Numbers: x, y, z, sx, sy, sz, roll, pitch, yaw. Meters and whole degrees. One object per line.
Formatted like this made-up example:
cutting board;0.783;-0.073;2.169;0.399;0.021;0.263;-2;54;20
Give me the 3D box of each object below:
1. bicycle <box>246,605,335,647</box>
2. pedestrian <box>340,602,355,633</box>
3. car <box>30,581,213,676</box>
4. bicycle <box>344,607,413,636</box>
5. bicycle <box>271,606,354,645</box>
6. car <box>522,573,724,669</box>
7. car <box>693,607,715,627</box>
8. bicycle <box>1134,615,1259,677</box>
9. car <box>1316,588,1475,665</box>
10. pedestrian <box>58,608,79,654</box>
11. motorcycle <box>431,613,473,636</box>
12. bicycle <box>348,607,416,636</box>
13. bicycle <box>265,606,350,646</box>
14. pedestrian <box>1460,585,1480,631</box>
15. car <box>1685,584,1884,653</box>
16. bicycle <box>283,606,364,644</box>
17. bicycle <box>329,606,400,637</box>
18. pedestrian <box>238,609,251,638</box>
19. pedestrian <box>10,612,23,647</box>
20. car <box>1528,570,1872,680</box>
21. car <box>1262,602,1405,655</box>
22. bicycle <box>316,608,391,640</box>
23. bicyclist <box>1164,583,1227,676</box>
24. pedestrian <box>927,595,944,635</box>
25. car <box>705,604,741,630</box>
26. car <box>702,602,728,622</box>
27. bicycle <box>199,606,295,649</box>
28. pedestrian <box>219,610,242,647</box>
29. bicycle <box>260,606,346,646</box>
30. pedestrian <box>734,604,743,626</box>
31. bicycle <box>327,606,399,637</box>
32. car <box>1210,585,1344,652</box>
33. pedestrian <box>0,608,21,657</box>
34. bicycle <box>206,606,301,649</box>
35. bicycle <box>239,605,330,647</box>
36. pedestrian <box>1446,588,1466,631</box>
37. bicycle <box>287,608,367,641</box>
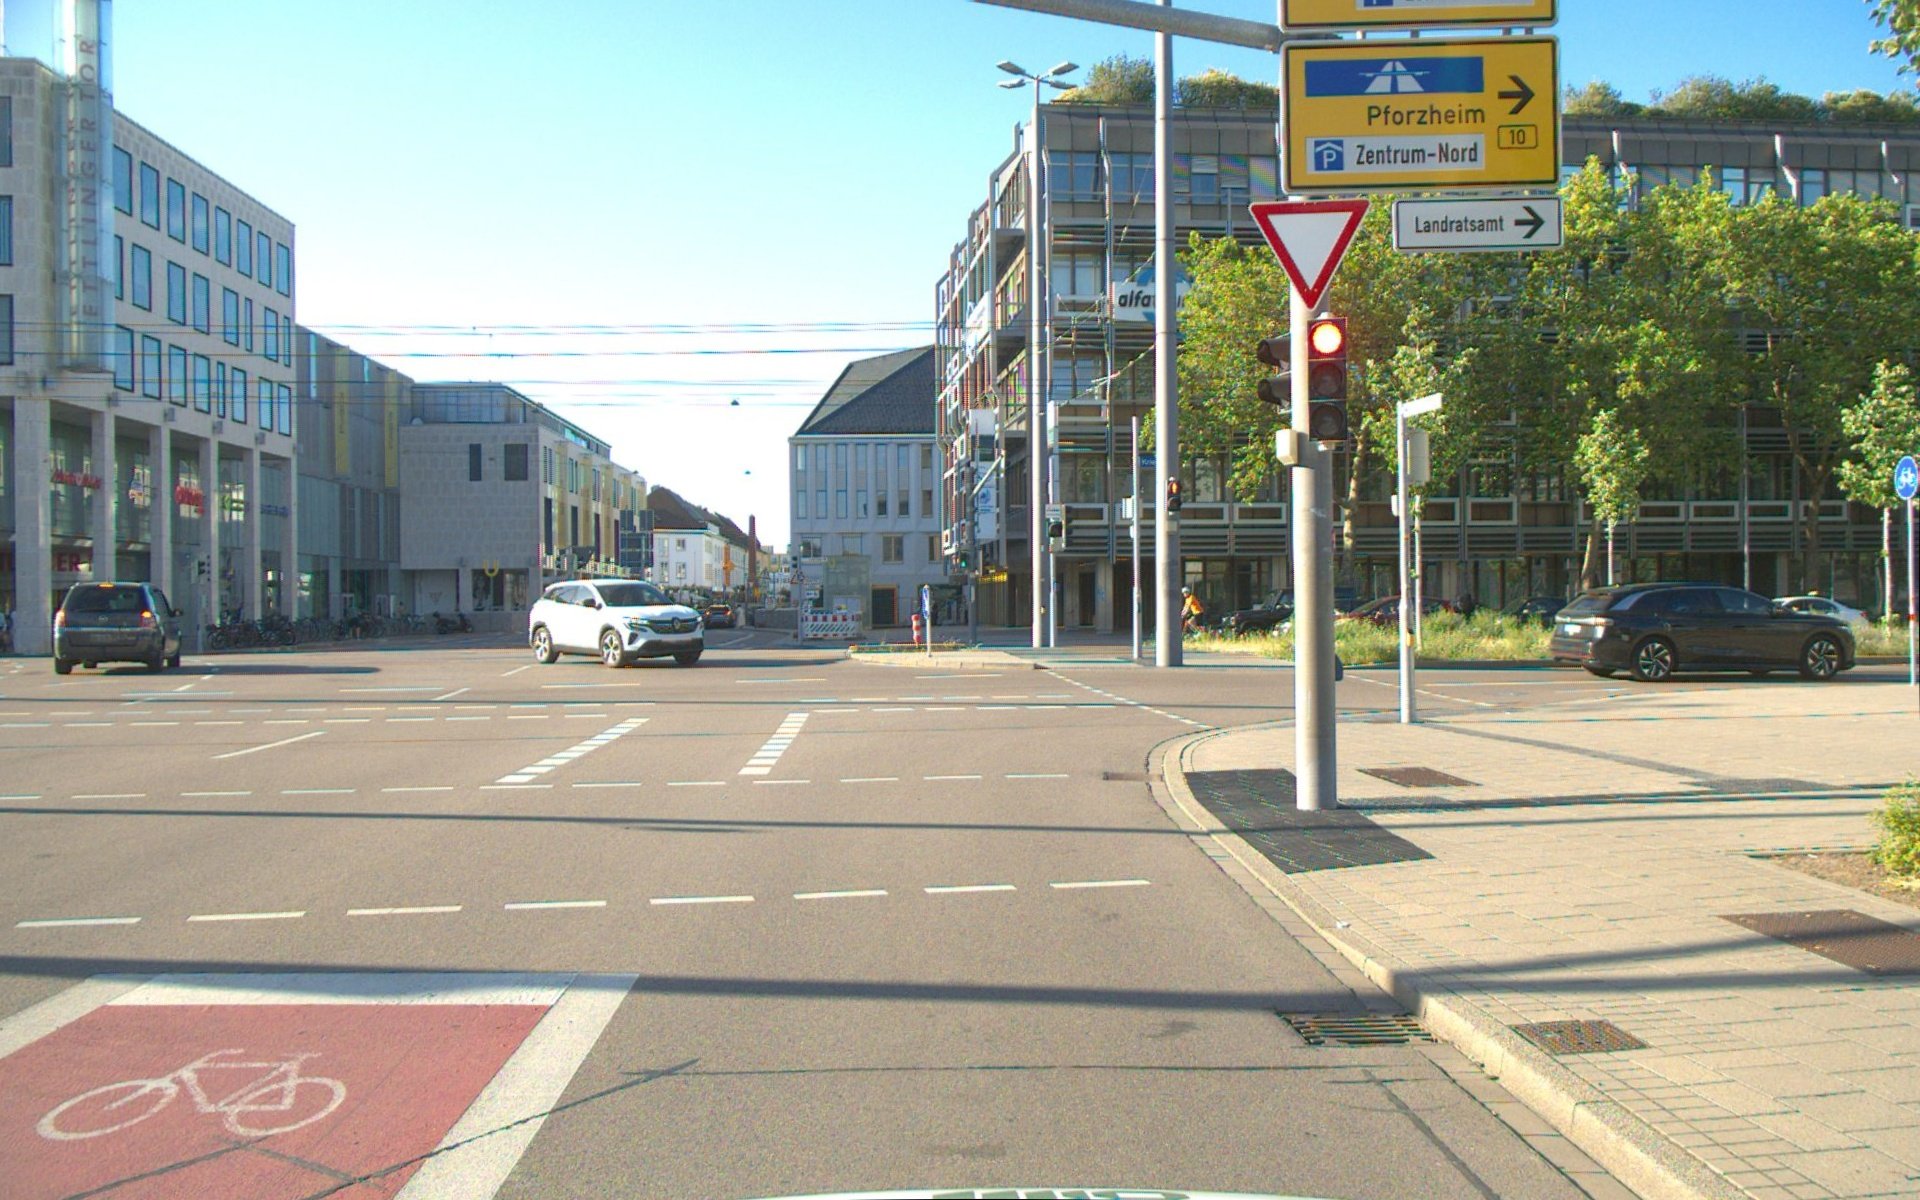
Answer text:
bicycle;-29.099;1.126;71.929;3.427;1.726;1.114;-1;0;-10
pedestrian;-33.722;0.954;91.063;0.641;1.671;0.693;-1;0;-9
car;-15.599;0.487;31.036;1.959;1.635;4.467;1;0;-12
bicycle;-31.785;1.170;90.404;3.430;1.554;0.984;-1;0;-12
bicycle;-30.039;1.181;76.785;3.430;1.726;0.984;-1;0;-12
car;-6.568;0.342;31.905;1.982;1.689;4.341;-1;2;-40
car;-24.679;1.611;159.342;1.722;1.814;3.997;-1;0;-4
bicycle;6.749;1.302;47.229;3.427;1.688;0.929;-1;0;-10
car;12.233;0.733;46.585;3.908;2.049;1.999;1;0;-3
pedestrian;-32.634;1.117;60.547;0.531;1.671;0.548;-1;0;-15
motorcycle;-29.956;1.437;97.598;2.230;1.341;0.719;-1;0;-6
bicycle;-31.949;1.200;91.428;3.430;1.554;0.984;-1;0;-12
bicycle;-29.798;1.180;75.586;3.430;1.726;0.984;-1;0;-12
pedestrian;19.107;0.302;61.971;0.529;1.698;0.536;-1;0;-3
car;26.173;0.577;52.583;5.332;2.049;2.096;1;0;-3
bicycle;-30.338;1.190;78.871;3.430;1.726;0.984;-1;0;-12
bicycle;-31.390;1.110;87.248;3.430;1.554;0.984;-1;0;-12
pedestrian;-36.762;1.202;84.991;0.629;1.460;0.472;-1;0;-23
pedestrian;-39.249;1.222;68.802;0.384;1.451;0.495;0;0;-39
car;12.073;0.363;27.140;4.844;1.629;1.997;-1;2;-8
car;11.440;0.864;50.822;3.908;1.534;1.867;1;0;-4
bicycle;-30.885;1.215;84.270;3.430;1.554;0.984;-1;0;-12
bicyclist;6.719;0.833;47.229;1.539;2.625;0.930;-1;0;-10
pedestrian;-1.033;0.629;69.433;0.650;1.687;0.755;-1;0;-4
car;-15.499;1.096;108.168;2.157;1.635;4.320;-1;0;-6
car;-21.457;1.078;144.833;1.954;1.689;4.402;-1;0;-5
bicycle;-29.322;1.116;68.037;3.427;1.726;1.114;-1;0;-10
pedestrian;-33.212;1.298;75.329;0.769;1.671;0.694;-1;0;-8
bicycle;-29.574;1.171;74.498;3.430;1.726;0.984;-1;0;-12
pedestrian;-14.496;0.993;108.277;0.598;1.436;0.569;-1;0;-7
bicycle;-31.073;1.122;86.131;3.430;1.554;0.984;-1;0;-12
car;10.305;0.598;53.926;3.908;2.049;1.999;1;0;-3
pedestrian;-35.830;1.205;62.049;0.741;1.829;0.737;-1;0;-2
bicycle;-29.555;1.148;69.243;3.427;1.726;1.114;-1;0;-10
bicycle;-28.868;1.090;70.717;3.427;1.726;1.114;-1;0;-10
pedestrian;18.862;0.366;62.870;0.529;1.618;0.586;-1;0;-3
bicycle;-30.542;1.174;79.860;3.430;1.554;0.984;-1;0;-12
